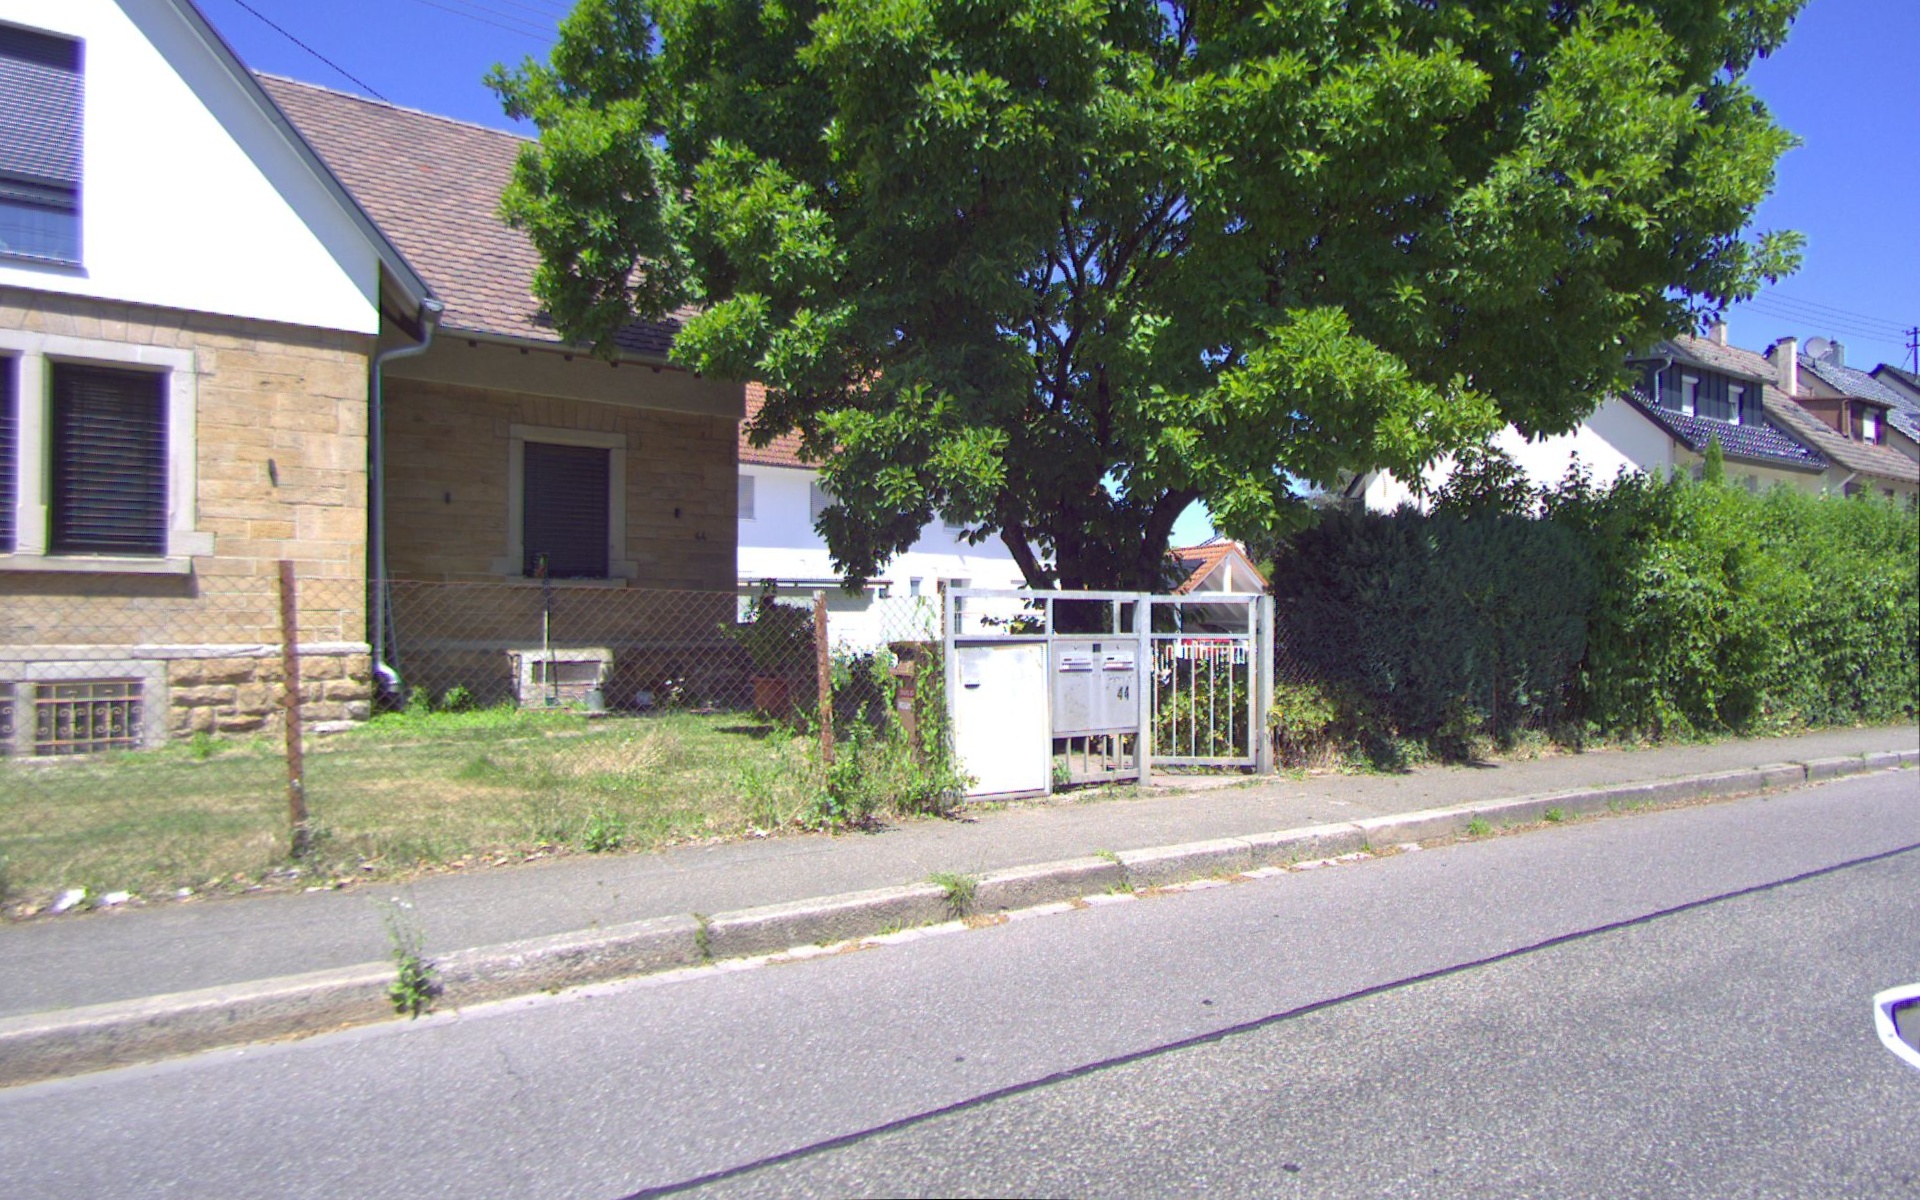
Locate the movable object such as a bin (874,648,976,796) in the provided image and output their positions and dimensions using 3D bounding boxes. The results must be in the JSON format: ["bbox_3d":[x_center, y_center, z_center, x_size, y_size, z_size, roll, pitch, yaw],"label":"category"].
[{"bbox_3d":[-0.270,0.878,7.484,0.469,1.009,0.703,1,-1,-33],"label":"movable object such as a bin"}]

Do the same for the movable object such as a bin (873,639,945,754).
[{"bbox_3d":[-0.480,0.883,9.402,0.500,1.023,0.464,1,0,-31],"label":"movable object such as a bin"}]
